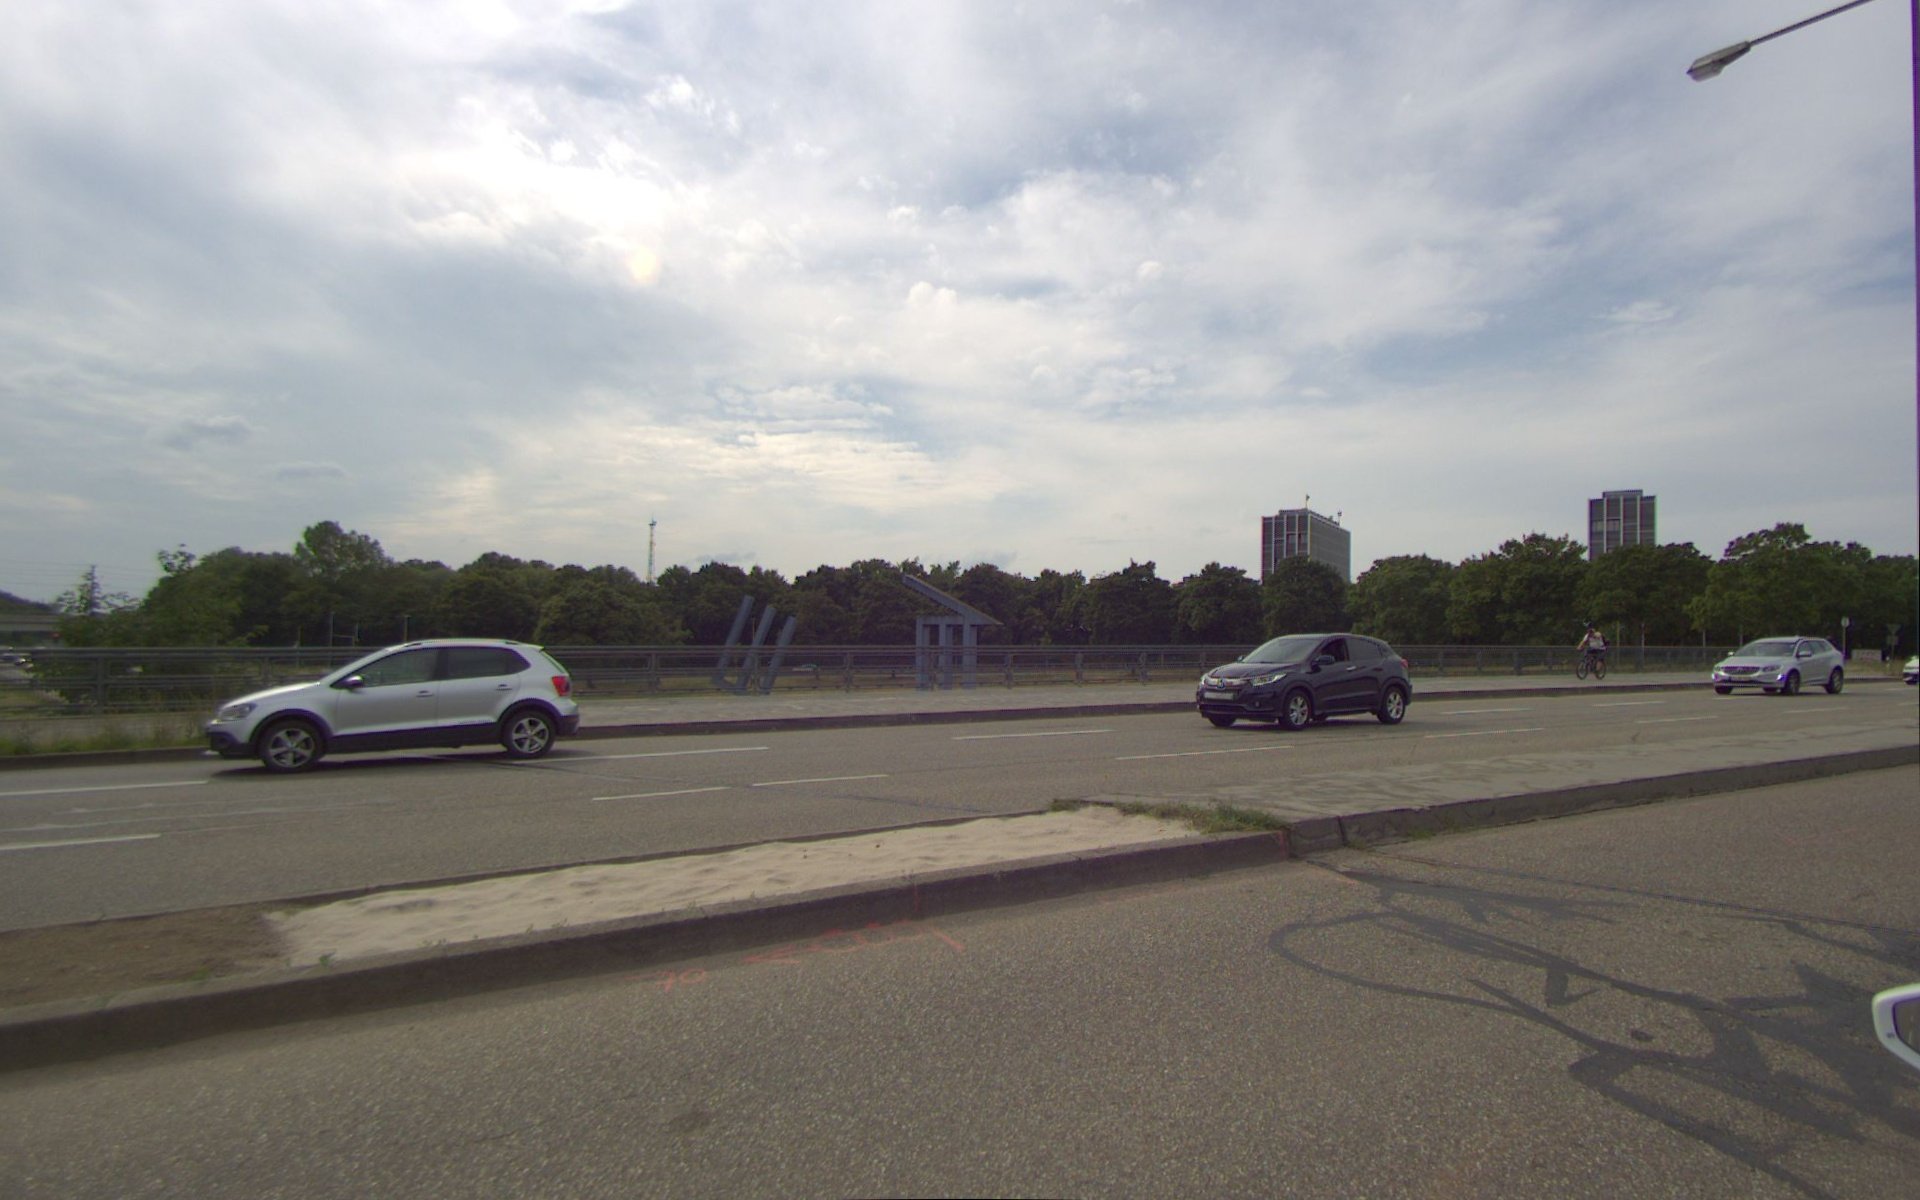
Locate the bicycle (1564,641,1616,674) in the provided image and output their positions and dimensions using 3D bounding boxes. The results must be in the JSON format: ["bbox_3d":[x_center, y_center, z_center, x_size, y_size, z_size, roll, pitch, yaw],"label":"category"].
[{"bbox_3d":[21.667,1.980,34.538,2.038,1.063,0.702,2,-1,-33],"label":"bicycle"}]

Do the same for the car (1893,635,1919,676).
[{"bbox_3d":[37.316,2.093,37.883,4.415,1.500,1.732,2,-4,-28],"label":"car"}]

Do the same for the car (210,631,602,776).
[{"bbox_3d":[-6.628,1.172,12.387,3.968,1.535,1.642,1,-3,-30],"label":"car"}]

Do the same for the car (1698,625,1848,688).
[{"bbox_3d":[24.137,1.684,29.788,4.713,1.747,1.855,2,-4,-30],"label":"car"}]

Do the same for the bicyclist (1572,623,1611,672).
[{"bbox_3d":[21.789,1.626,34.637,0.966,1.648,0.790,2,-1,-33],"label":"bicyclist"}]

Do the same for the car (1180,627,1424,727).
[{"bbox_3d":[5.964,1.299,17.391,4.269,1.535,1.730,2,-4,-33],"label":"car"}]
